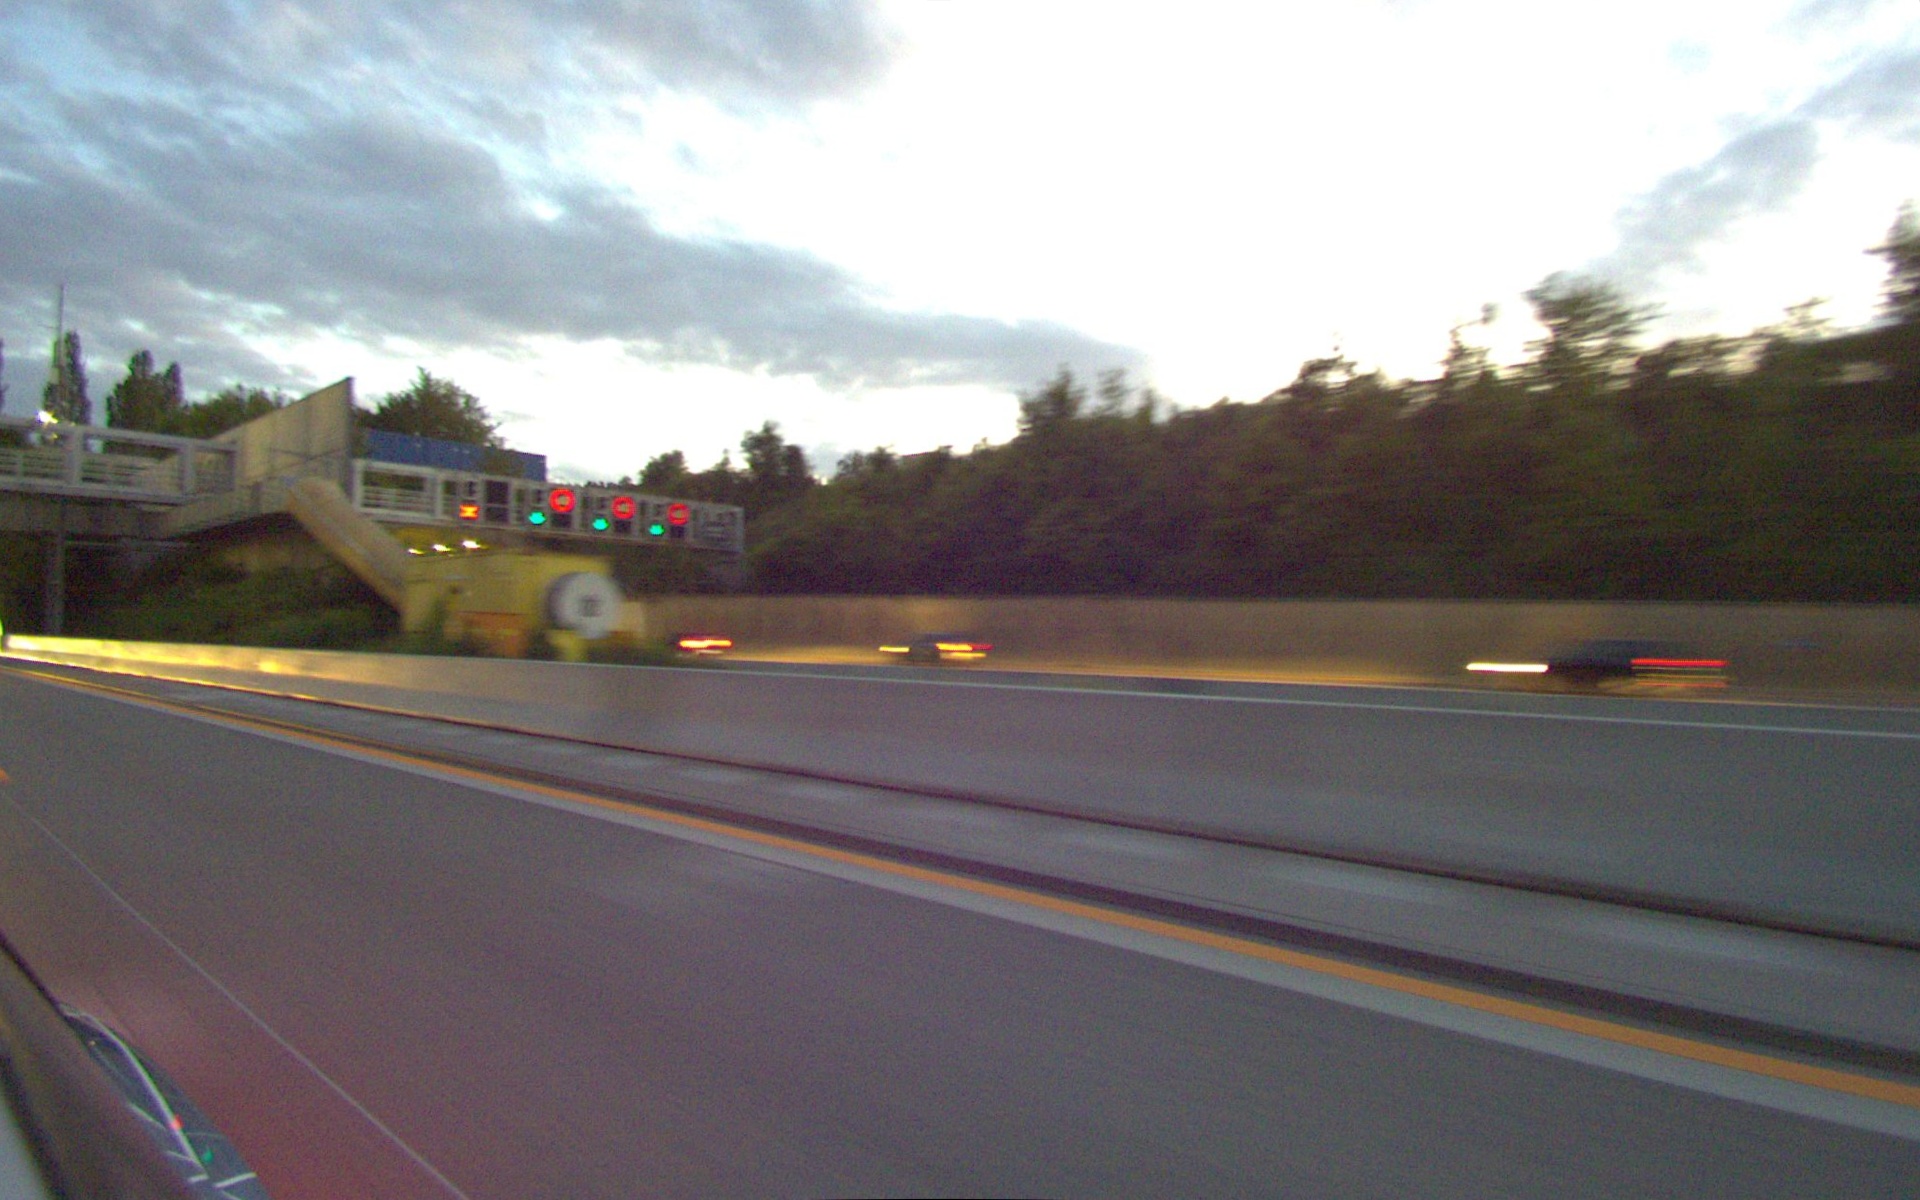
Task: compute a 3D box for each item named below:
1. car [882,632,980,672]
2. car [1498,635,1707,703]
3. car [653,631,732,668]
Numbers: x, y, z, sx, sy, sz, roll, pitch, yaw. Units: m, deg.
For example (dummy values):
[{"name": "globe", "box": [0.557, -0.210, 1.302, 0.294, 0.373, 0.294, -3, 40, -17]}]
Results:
[{"name": "car", "box": [-1.234, 2.113, 41.709, 4.096, 1.481, 1.559, -1, 0, 43]}, {"name": "car", "box": [16.051, 1.667, 25.431, 4.226, 1.481, 1.559, -1, -1, 43]}, {"name": "car", "box": [-12.730, 2.293, 48.040, 3.789, 1.582, 1.779, -1, 0, 41]}]
